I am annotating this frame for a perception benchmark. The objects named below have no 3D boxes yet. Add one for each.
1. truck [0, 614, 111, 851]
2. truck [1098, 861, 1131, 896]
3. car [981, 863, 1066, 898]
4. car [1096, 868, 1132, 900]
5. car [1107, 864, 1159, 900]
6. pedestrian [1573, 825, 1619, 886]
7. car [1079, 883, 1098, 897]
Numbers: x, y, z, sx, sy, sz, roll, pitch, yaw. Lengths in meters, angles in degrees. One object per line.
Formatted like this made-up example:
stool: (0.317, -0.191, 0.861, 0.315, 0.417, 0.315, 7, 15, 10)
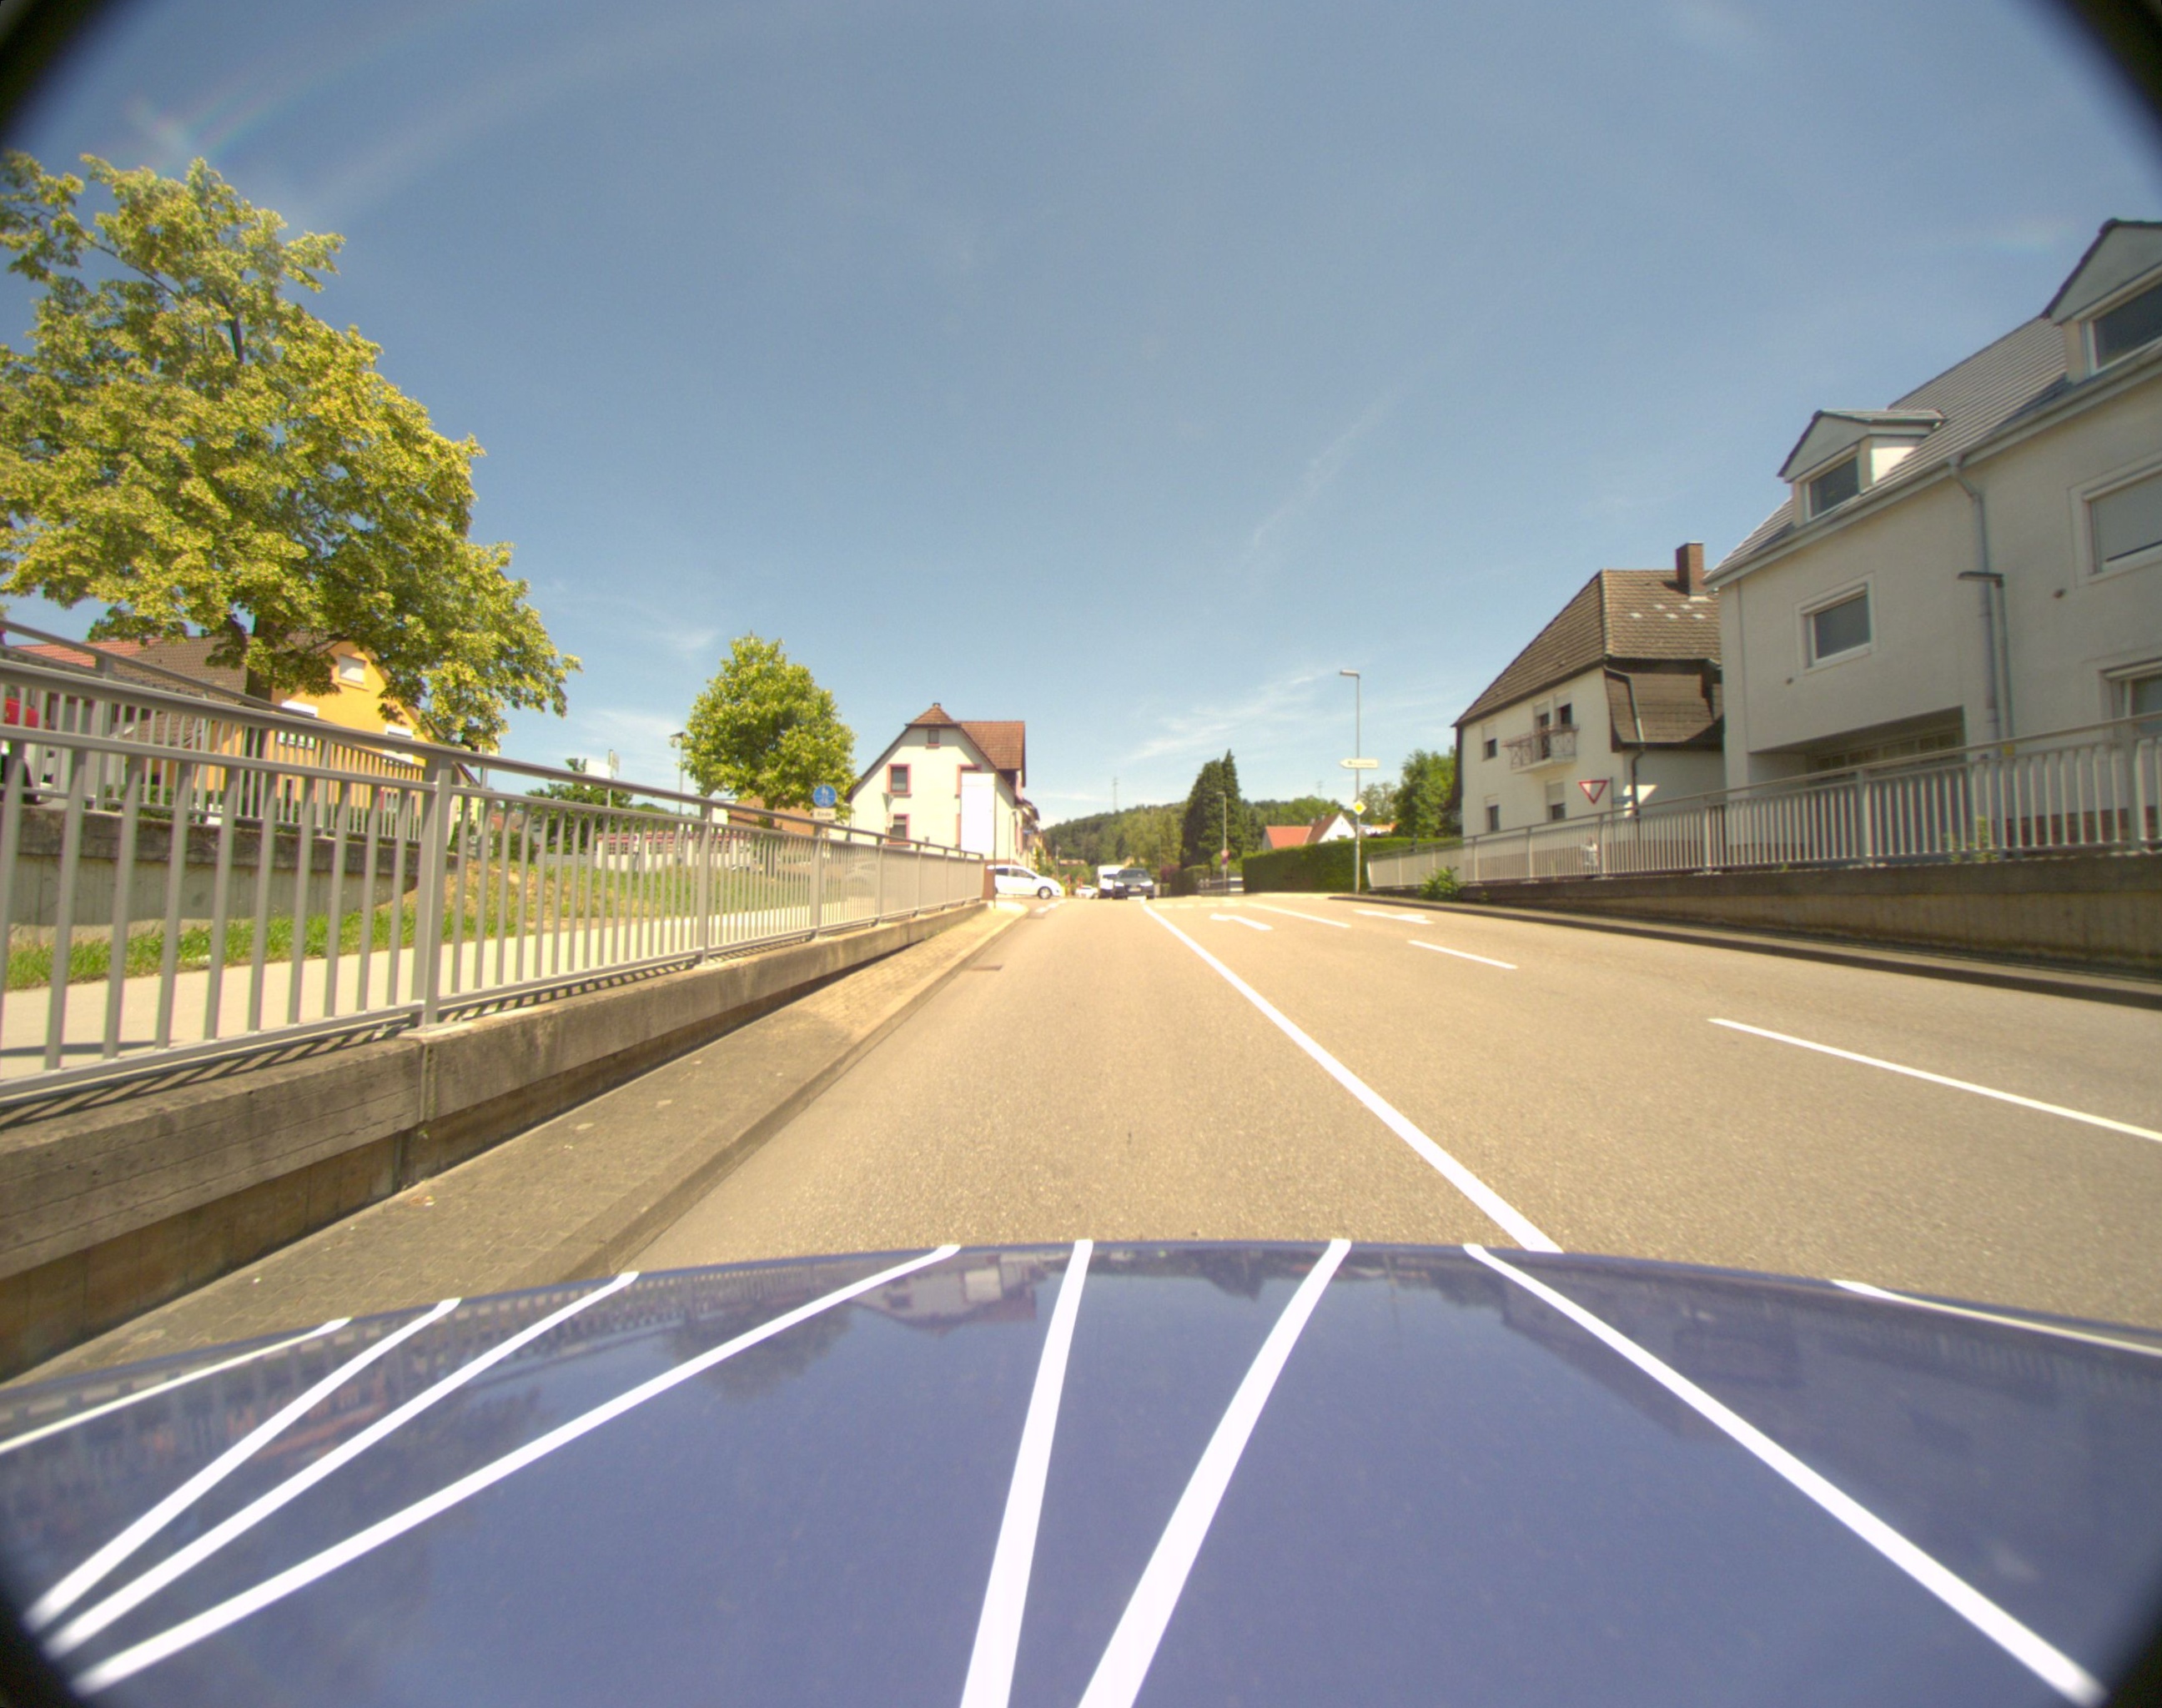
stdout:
truck: (-11.903, -1.328, 5.807, 2.137, 2.319, 5.262, -1, -3, 1)
truck: (3.501, 2.718, 80.946, 3.149, 3.464, 8.276, -1, -3, 0)
car: (-2.580, 1.201, 34.137, 3.680, 1.469, 1.775, 1, -1, -5)
car: (2.215, 2.063, 51.979, 1.999, 2.001, 4.549, -2, -2, -3)
car: (2.218, 1.195, 33.554, 1.864, 1.441, 4.000, -1, -1, -2)
pedestrian: (15.173, 0.048, 22.415, 0.729, 1.719, 0.856, -2, 0, -2)
car: (0.791, 3.946, 83.892, 1.998, 1.509, 4.146, 0, -3, 0)
